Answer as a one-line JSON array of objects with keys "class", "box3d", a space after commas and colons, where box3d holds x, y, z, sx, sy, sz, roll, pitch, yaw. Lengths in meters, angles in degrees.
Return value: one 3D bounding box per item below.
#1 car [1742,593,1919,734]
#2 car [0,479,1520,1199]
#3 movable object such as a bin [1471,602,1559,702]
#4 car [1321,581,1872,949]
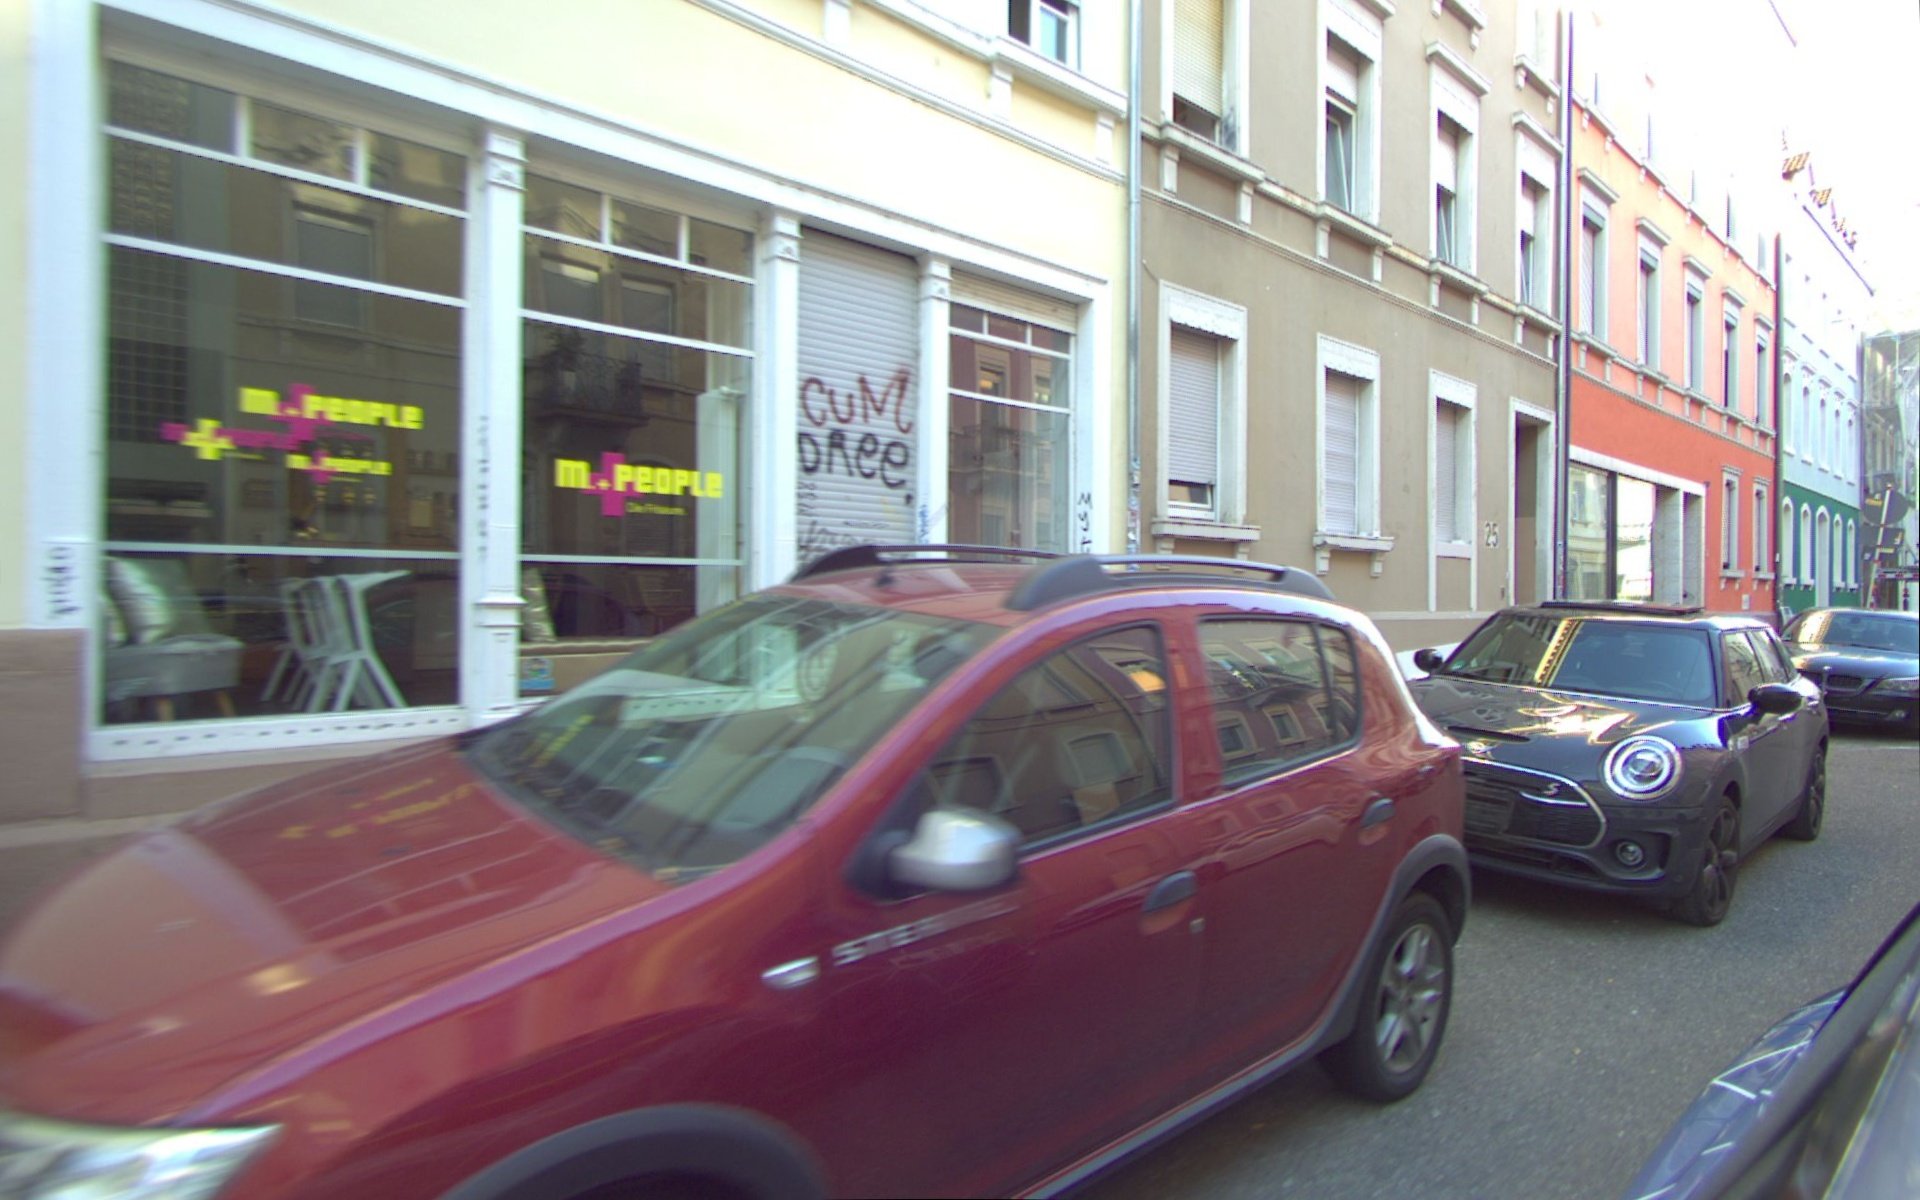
[{"class": "car", "box3d": [11.689, 0.686, 12.962, 4.386, 1.501, 1.830, 0, 1, -41]}, {"class": "car", "box3d": [-0.199, 0.651, 2.793, 3.930, 1.570, 1.793, 0, 1, -41]}, {"class": "movable object such as a bin", "box3d": [6.742, 0.612, 12.295, 0.630, 1.122, 0.717, 1, 2, -41]}, {"class": "car", "box3d": [4.185, 0.690, 6.335, 4.304, 1.541, 1.764, 0, 0, -41]}]
